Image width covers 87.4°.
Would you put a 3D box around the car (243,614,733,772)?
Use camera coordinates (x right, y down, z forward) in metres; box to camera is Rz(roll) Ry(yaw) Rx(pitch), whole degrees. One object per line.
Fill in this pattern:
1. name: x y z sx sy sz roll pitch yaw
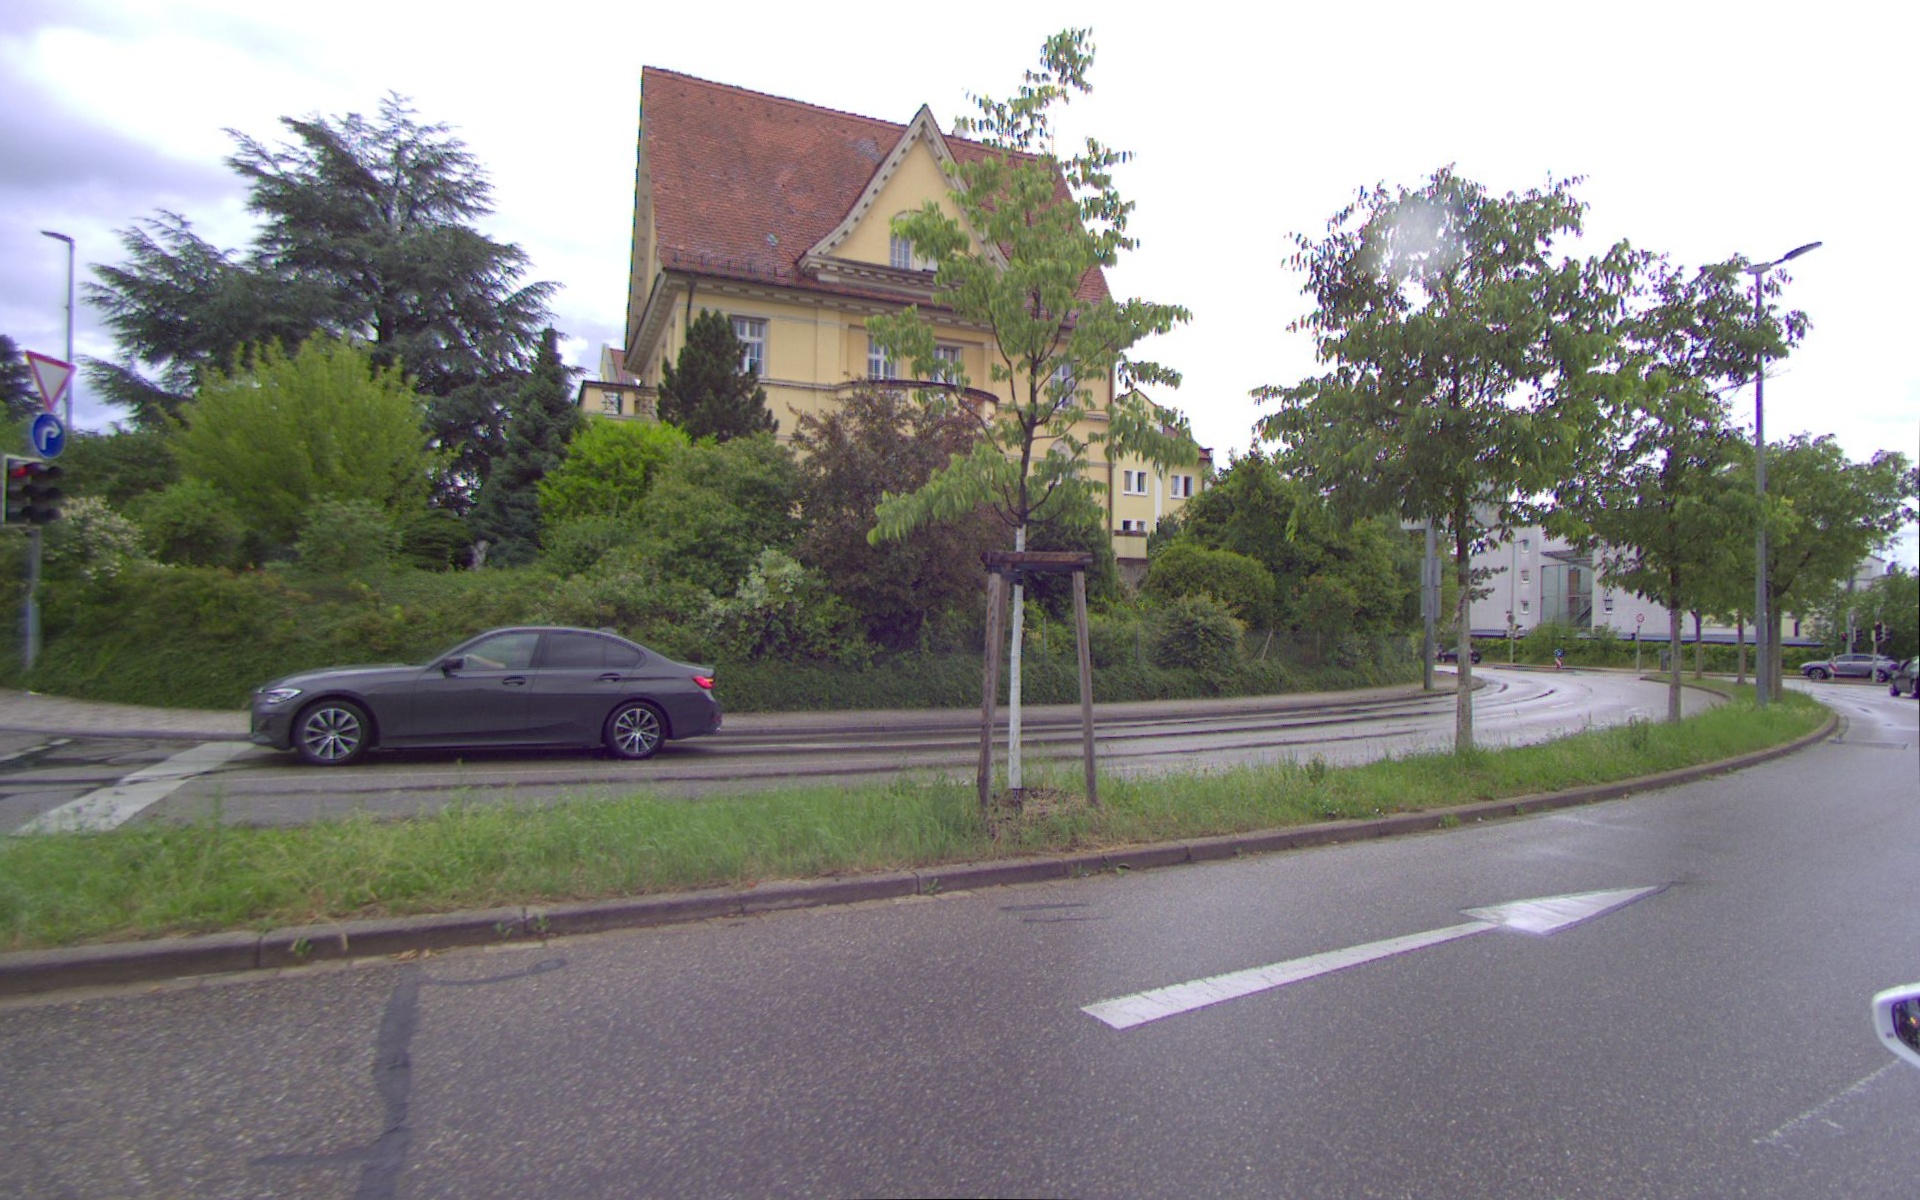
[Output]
1. car: -5.007 0.986 11.185 4.488 1.456 1.987 3 -2 -26

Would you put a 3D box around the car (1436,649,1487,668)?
1. car: 44.440 5.154 89.121 1.965 1.576 3.992 0 -2 -12

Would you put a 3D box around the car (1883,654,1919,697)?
1. car: 33.917 2.618 35.006 1.825 1.448 3.991 -1 -3 32

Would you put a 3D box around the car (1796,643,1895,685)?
1. car: 51.597 3.676 58.598 1.962 2.041 3.958 0 2 -36
